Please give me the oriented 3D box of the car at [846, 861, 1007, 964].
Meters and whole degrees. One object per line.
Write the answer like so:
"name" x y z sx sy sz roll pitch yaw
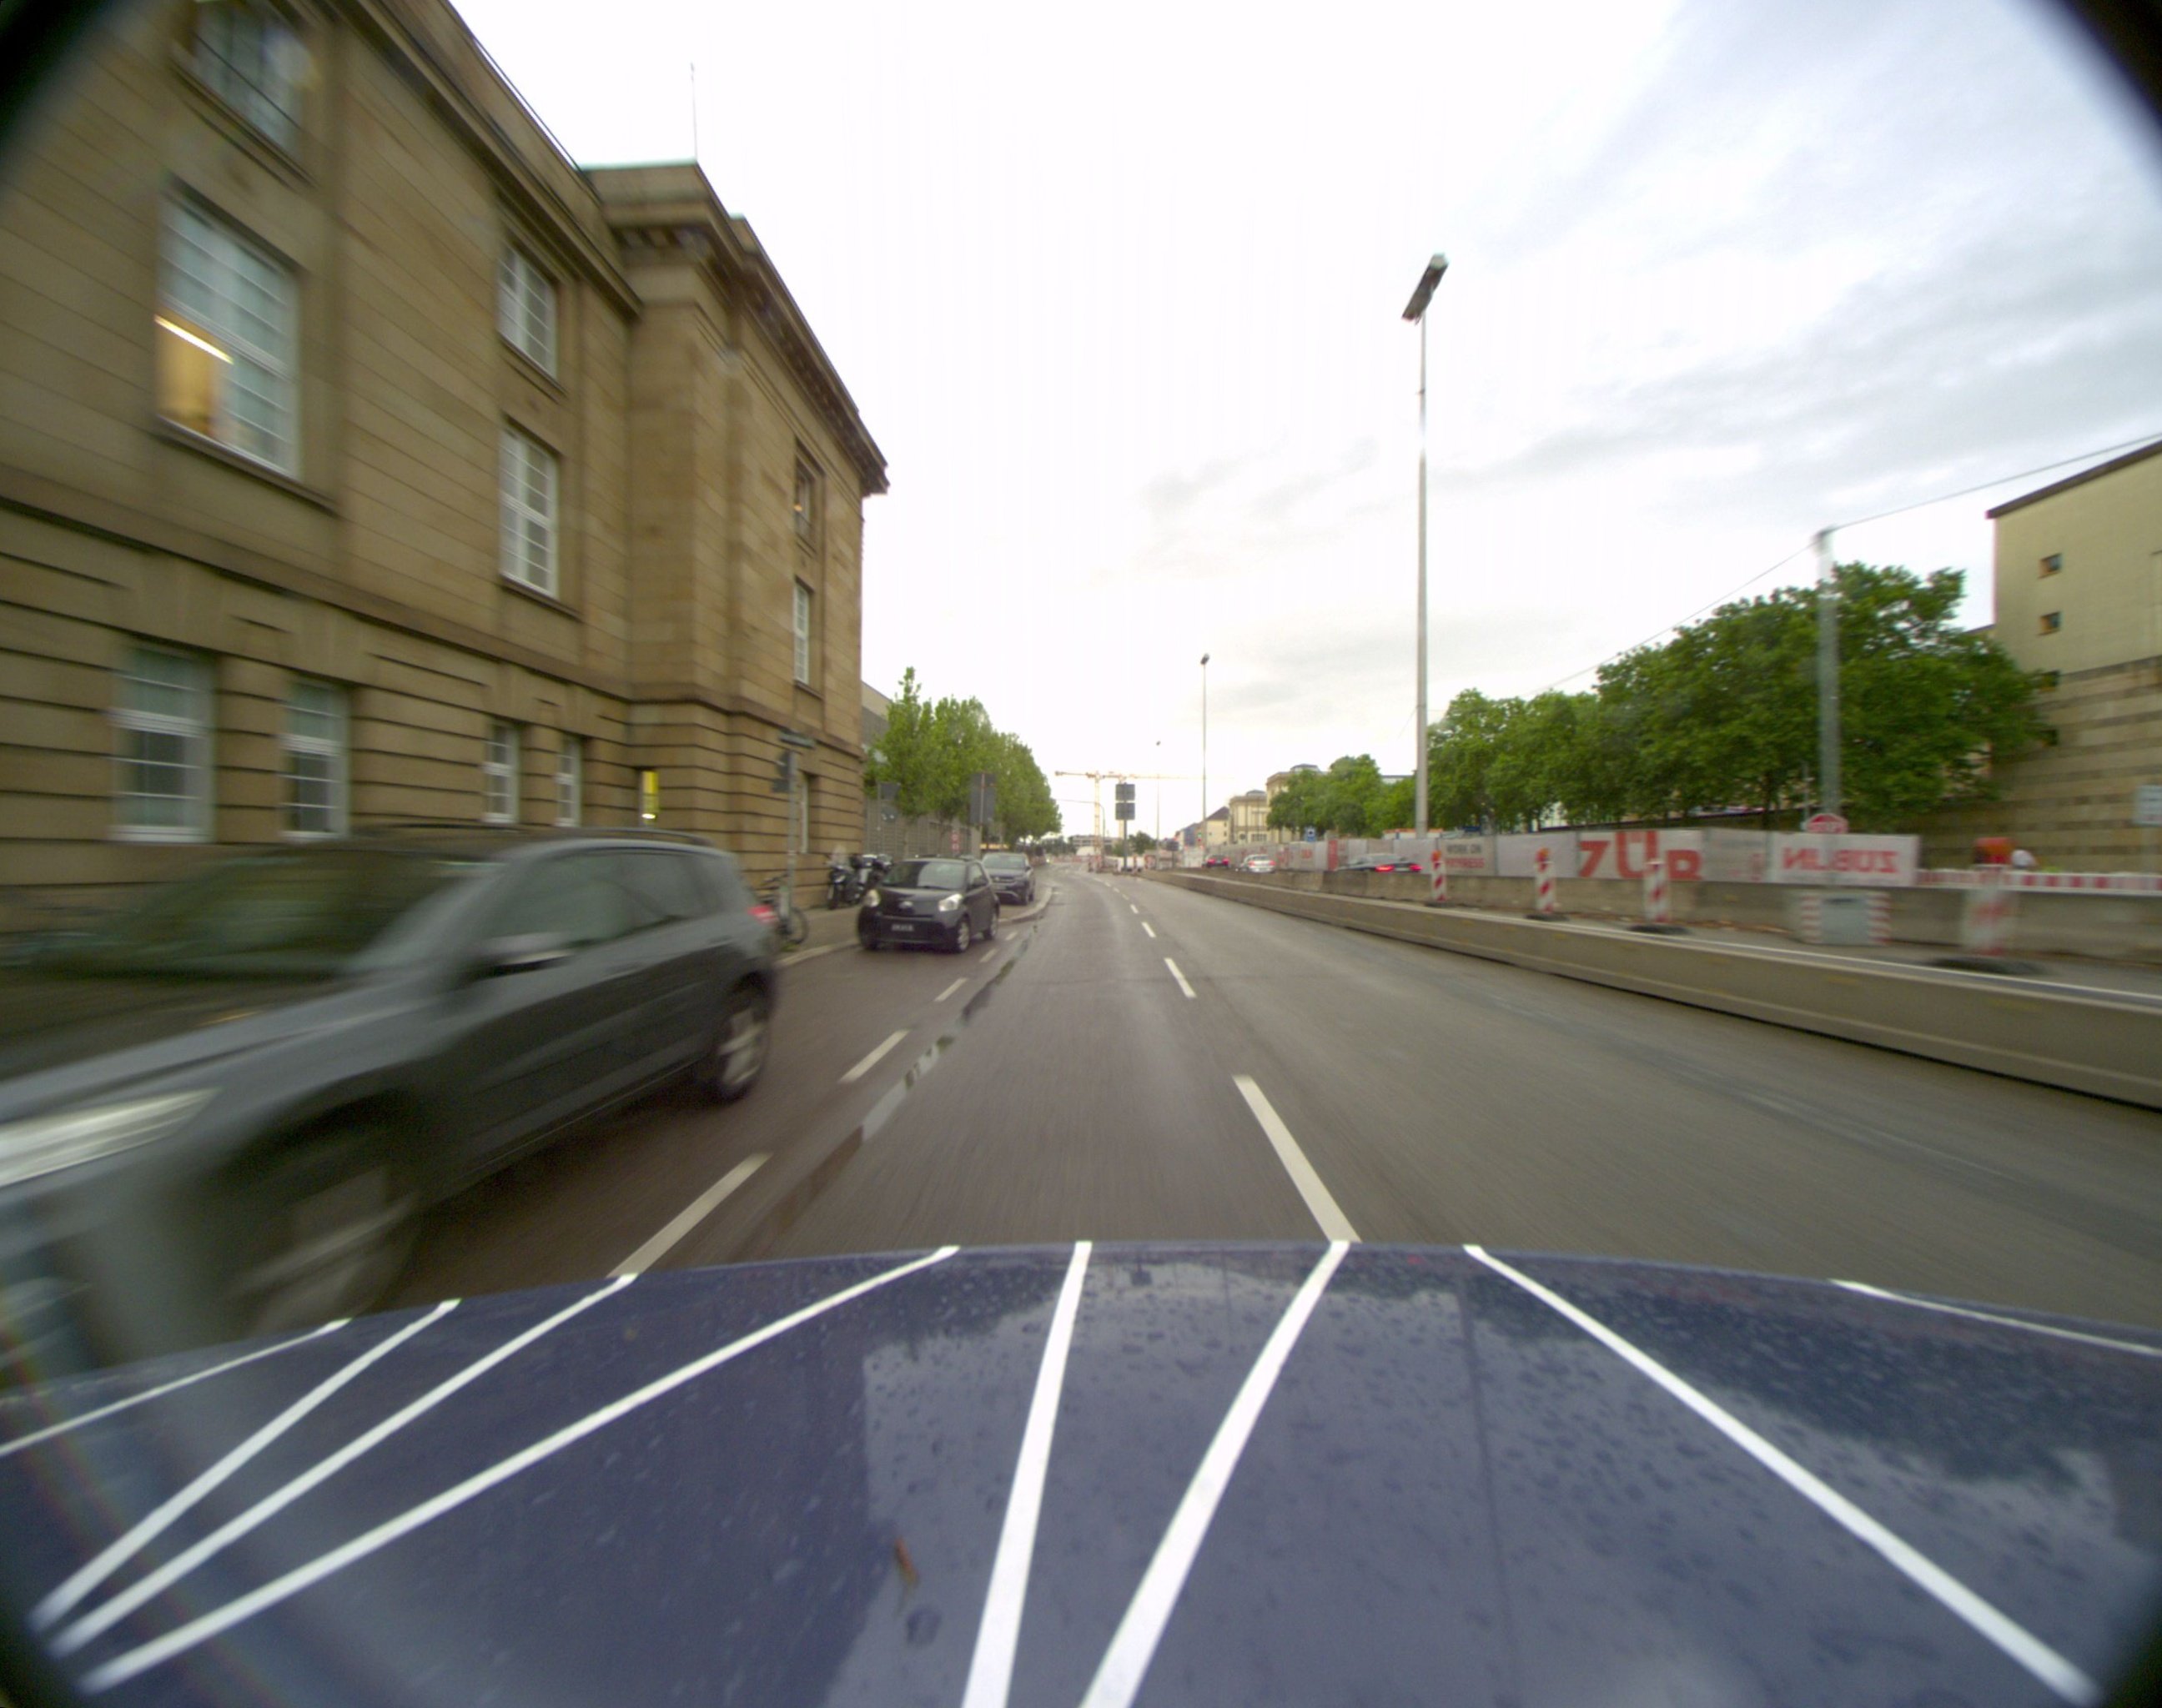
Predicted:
"car" -2.490 0.886 12.991 1.762 1.406 3.153 1 1 7

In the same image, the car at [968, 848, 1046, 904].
"car" -2.244 0.629 24.128 1.876 1.609 4.404 1 0 2

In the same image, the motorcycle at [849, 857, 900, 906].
"motorcycle" -5.894 0.762 21.774 0.808 1.291 1.799 -1 1 6

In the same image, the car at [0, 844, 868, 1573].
"car" -2.864 0.853 4.001 1.998 1.771 4.189 -1 1 4

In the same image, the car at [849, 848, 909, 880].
"car" -12.734 0.662 48.252 1.959 1.673 4.497 -6 -3 8

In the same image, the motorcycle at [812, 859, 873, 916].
"motorcycle" -6.050 0.821 19.425 0.668 1.318 2.135 -1 1 6

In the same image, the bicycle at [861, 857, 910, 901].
"bicycle" -6.216 0.777 24.338 1.105 1.309 1.858 -1 1 -1

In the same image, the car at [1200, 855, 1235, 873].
"car" 12.046 0.815 67.365 1.926 1.521 4.758 0 0 -5

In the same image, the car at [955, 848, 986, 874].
"car" -6.782 0.390 47.038 1.692 1.486 3.618 -1 2 -5

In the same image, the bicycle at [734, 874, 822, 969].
"bicycle" -4.438 0.943 11.275 0.778 1.211 1.963 1 1 -9

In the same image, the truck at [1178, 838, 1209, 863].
"truck" 12.524 -0.370 85.322 2.404 2.703 7.354 0 0 0

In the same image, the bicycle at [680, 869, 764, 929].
"bicycle" -7.000 0.847 14.924 0.419 1.044 1.773 0 1 15

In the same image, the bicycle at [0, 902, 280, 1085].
"bicycle" -7.032 0.931 5.439 0.584 1.032 1.759 -1 1 6

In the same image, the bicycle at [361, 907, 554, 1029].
"bicycle" -6.749 1.182 8.362 0.714 1.045 1.740 -1 1 -2

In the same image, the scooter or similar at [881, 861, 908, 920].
"scooter or similar" -4.338 0.833 17.633 0.435 1.285 1.255 -1 1 -21

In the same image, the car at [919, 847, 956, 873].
"car" -9.130 0.364 48.525 1.584 1.528 3.021 1 1 4

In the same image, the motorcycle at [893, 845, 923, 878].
"motorcycle" -10.918 0.449 48.120 0.750 1.893 2.590 -17 1 2

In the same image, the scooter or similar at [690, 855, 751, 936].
"scooter or similar" -6.670 0.730 14.115 0.414 1.409 1.268 1 2 6

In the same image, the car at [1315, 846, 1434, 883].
"car" 11.015 0.374 28.950 1.780 1.255 4.761 -2 0 -14
